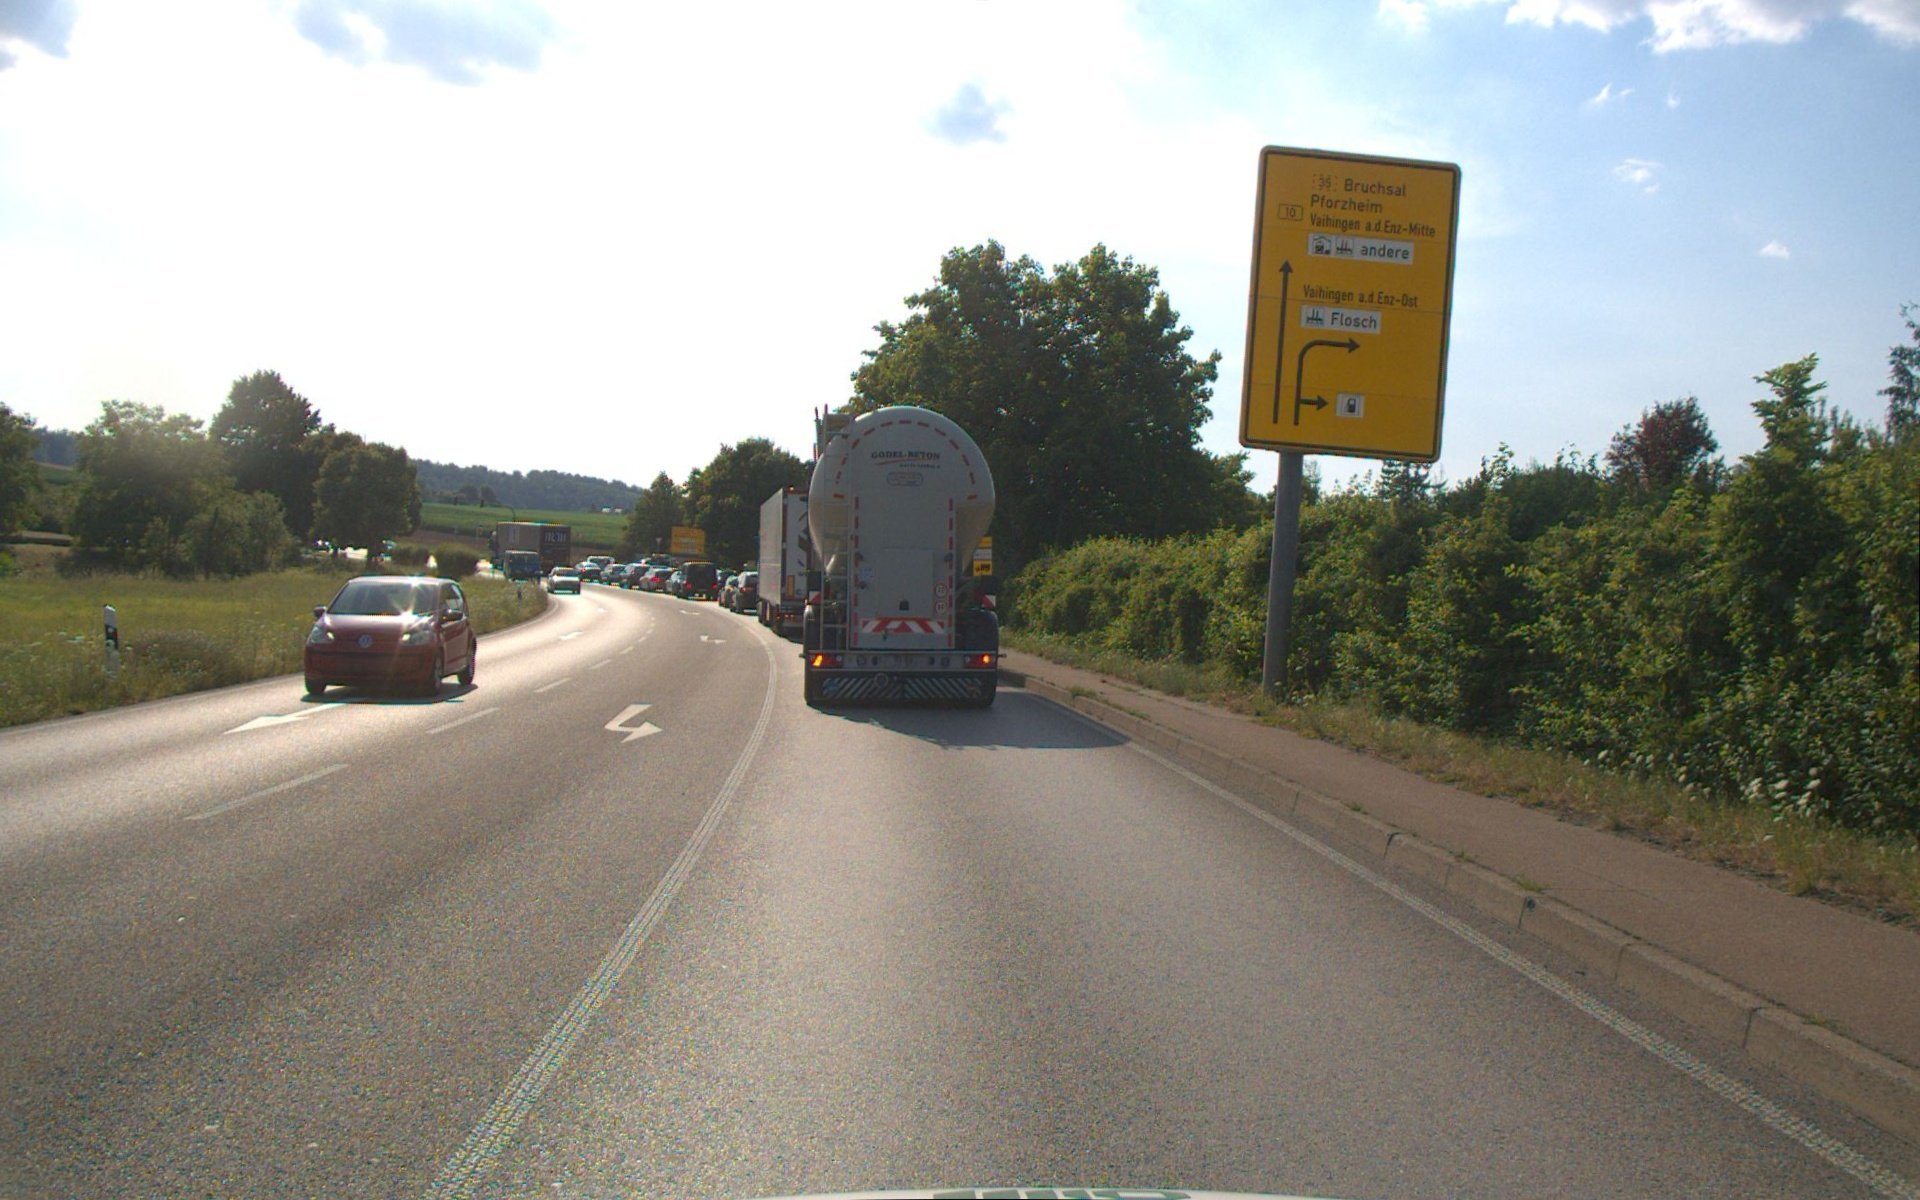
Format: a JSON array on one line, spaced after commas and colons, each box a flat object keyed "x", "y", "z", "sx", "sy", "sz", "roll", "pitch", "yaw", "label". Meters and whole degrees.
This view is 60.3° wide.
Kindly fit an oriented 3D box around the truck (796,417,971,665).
[{"x": -1.447, "y": -1.001, "z": 29.681, "sx": 2.853, "sy": 4.076, "sz": 4.055, "roll": 1, "pitch": 0, "yaw": -5, "label": "truck"}]

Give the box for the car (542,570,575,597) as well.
[{"x": -22.868, "y": -0.963, "z": 94.119, "sx": 1.678, "sy": 1.453, "sz": 4.162, "roll": 1, "pitch": 0, "yaw": -15, "label": "car"}]

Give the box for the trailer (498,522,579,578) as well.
[{"x": -36.179, "y": -4.289, "z": 141.499, "sx": 3.337, "sy": 4.426, "sz": 14.162, "roll": 2, "pitch": 1, "yaw": -28, "label": "trailer"}]

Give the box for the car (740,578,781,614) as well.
[{"x": -8.307, "y": -0.179, "z": 68.671, "sx": 1.551, "sy": 1.364, "sz": 3.419, "roll": 2, "pitch": 1, "yaw": -9, "label": "car"}]

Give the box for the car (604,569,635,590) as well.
[{"x": -24.420, "y": -1.480, "z": 118.530, "sx": 1.559, "sy": 1.364, "sz": 3.402, "roll": 2, "pitch": 1, "yaw": -23, "label": "car"}]

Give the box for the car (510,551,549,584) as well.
[{"x": -29.674, "y": -2.232, "z": 113.837, "sx": 1.970, "sy": 2.174, "sz": 4.747, "roll": 1, "pitch": 0, "yaw": -22, "label": "car"}]

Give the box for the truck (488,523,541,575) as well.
[{"x": -40.107, "y": -4.555, "z": 148.864, "sx": 3.338, "sy": 4.426, "sz": 5.653, "roll": 2, "pitch": 1, "yaw": -28, "label": "truck"}]

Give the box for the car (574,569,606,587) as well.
[{"x": -27.911, "y": -1.640, "z": 124.622, "sx": 1.745, "sy": 1.226, "sz": 3.402, "roll": 2, "pitch": 1, "yaw": -23, "label": "car"}]

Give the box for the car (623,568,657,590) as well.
[{"x": -21.469, "y": -1.387, "z": 110.962, "sx": 1.559, "sy": 1.364, "sz": 3.402, "roll": 2, "pitch": 1, "yaw": -23, "label": "car"}]

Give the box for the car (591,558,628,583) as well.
[{"x": -29.840, "y": -2.522, "z": 140.672, "sx": 1.971, "sy": 2.048, "sz": 3.963, "roll": 1, "pitch": 2, "yaw": -29, "label": "car"}]

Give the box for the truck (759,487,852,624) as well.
[{"x": -5.312, "y": -1.496, "z": 56.871, "sx": 2.894, "sy": 4.378, "sz": 4.926, "roll": 2, "pitch": 0, "yaw": -5, "label": "truck"}]

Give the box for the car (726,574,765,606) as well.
[{"x": -10.016, "y": -0.484, "z": 77.042, "sx": 1.552, "sy": 1.364, "sz": 3.417, "roll": 2, "pitch": 1, "yaw": -11, "label": "car"}]

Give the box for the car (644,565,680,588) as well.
[{"x": -18.938, "y": -1.506, "z": 105.026, "sx": 1.559, "sy": 1.364, "sz": 3.402, "roll": 2, "pitch": 1, "yaw": -23, "label": "car"}]

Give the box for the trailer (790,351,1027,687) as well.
[{"x": -1.060, "y": -1.042, "z": 25.284, "sx": 2.853, "sy": 4.076, "sz": 9.920, "roll": 1, "pitch": 1, "yaw": -5, "label": "trailer"}]

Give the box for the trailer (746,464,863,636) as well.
[{"x": -4.716, "y": -1.409, "z": 50.393, "sx": 2.897, "sy": 4.390, "sz": 14.160, "roll": 2, "pitch": 1, "yaw": -5, "label": "trailer"}]

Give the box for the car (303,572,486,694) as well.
[{"x": -7.429, "y": 0.384, "z": 22.052, "sx": 1.555, "sy": 1.492, "sz": 3.602, "roll": 0, "pitch": 1, "yaw": -6, "label": "car"}]

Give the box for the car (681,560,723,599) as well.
[{"x": -14.252, "y": -1.135, "z": 91.102, "sx": 1.831, "sy": 2.049, "sz": 3.703, "roll": 1, "pitch": 1, "yaw": -16, "label": "car"}]
